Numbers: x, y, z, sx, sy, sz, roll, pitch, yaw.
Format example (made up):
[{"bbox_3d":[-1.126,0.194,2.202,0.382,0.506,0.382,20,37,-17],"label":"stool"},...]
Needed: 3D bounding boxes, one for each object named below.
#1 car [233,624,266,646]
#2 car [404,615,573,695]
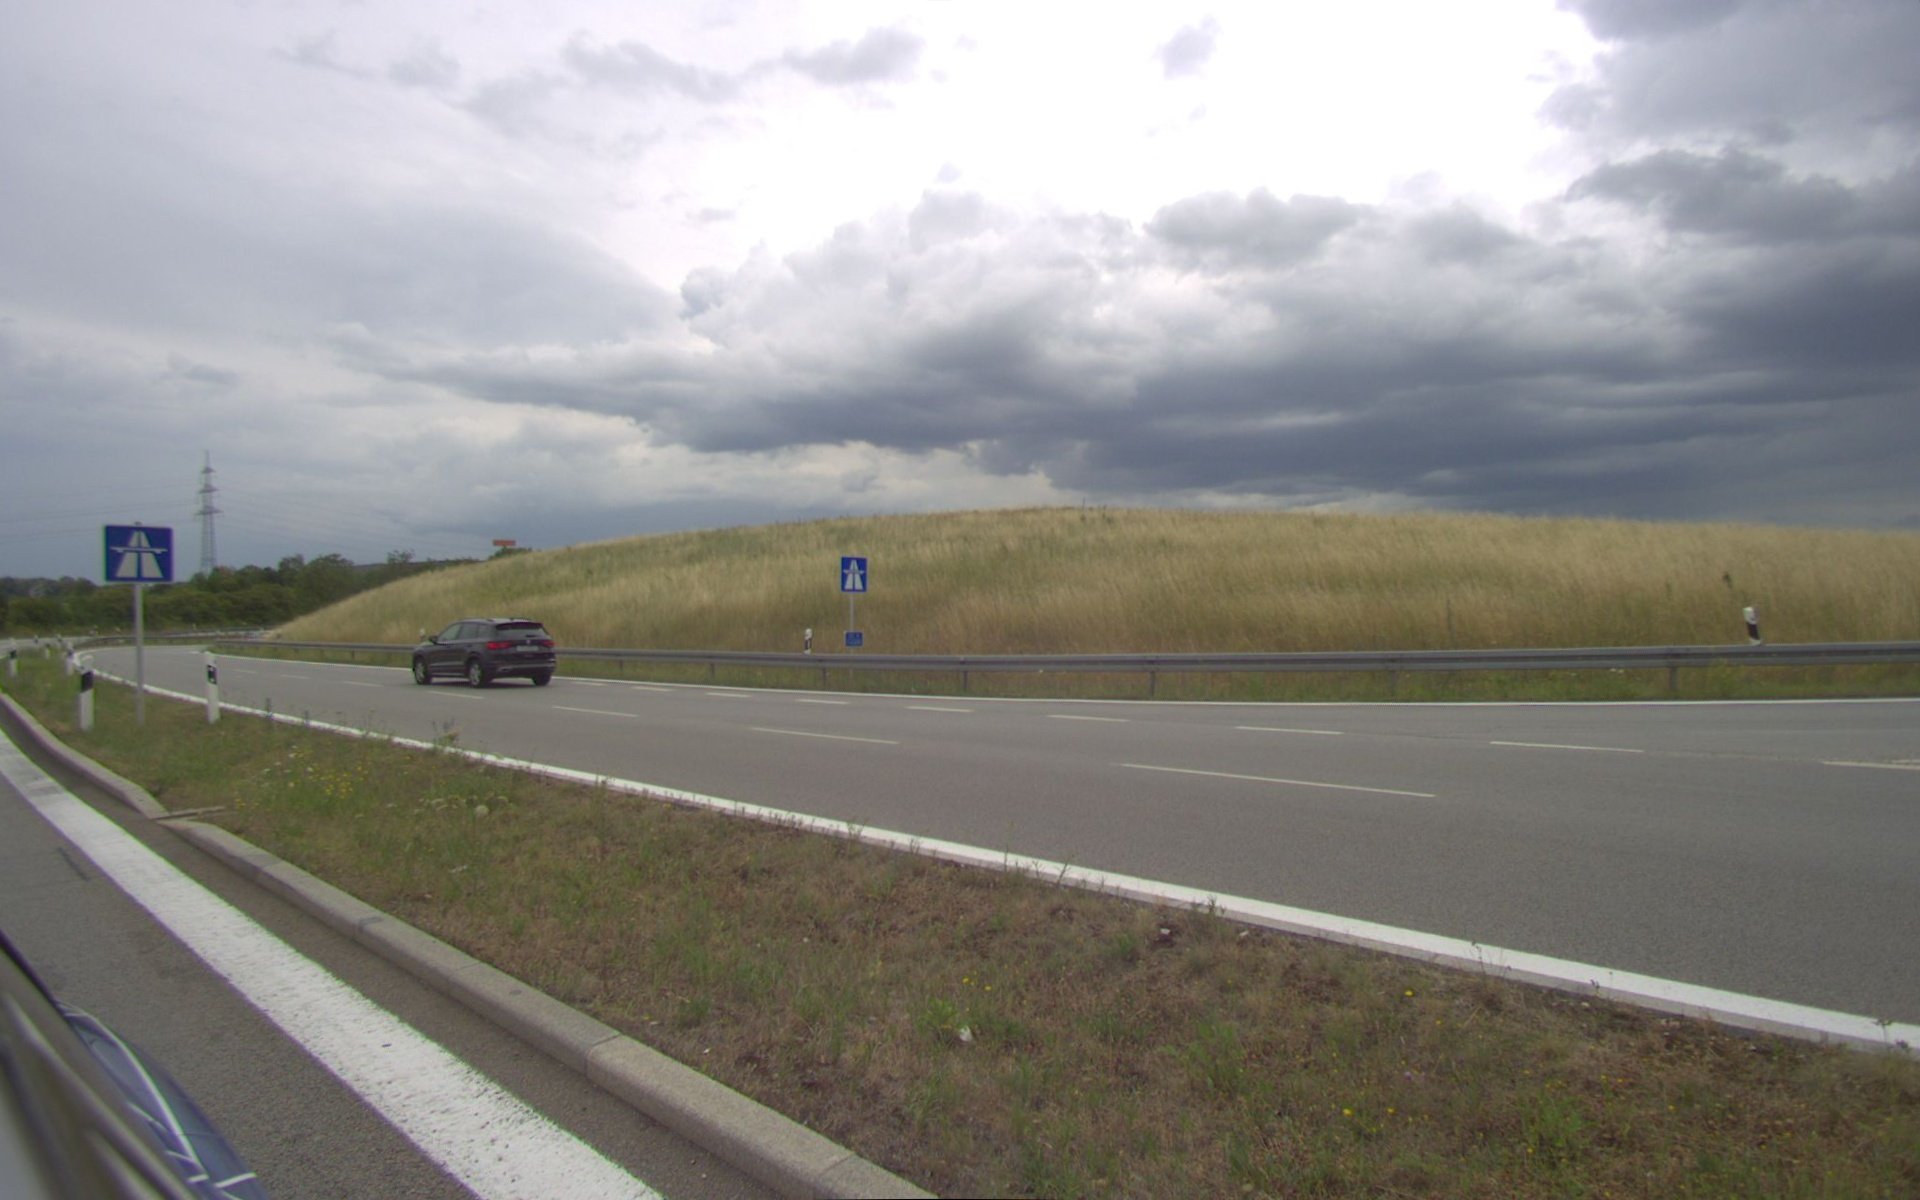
[{"bbox_3d":[-59.921,2.901,85.416,1.966,1.696,4.126,-1,0,-31],"label":"car"},{"bbox_3d":[-11.290,1.231,24.146,4.107,1.696,1.975,-1,0,37],"label":"car"}]
